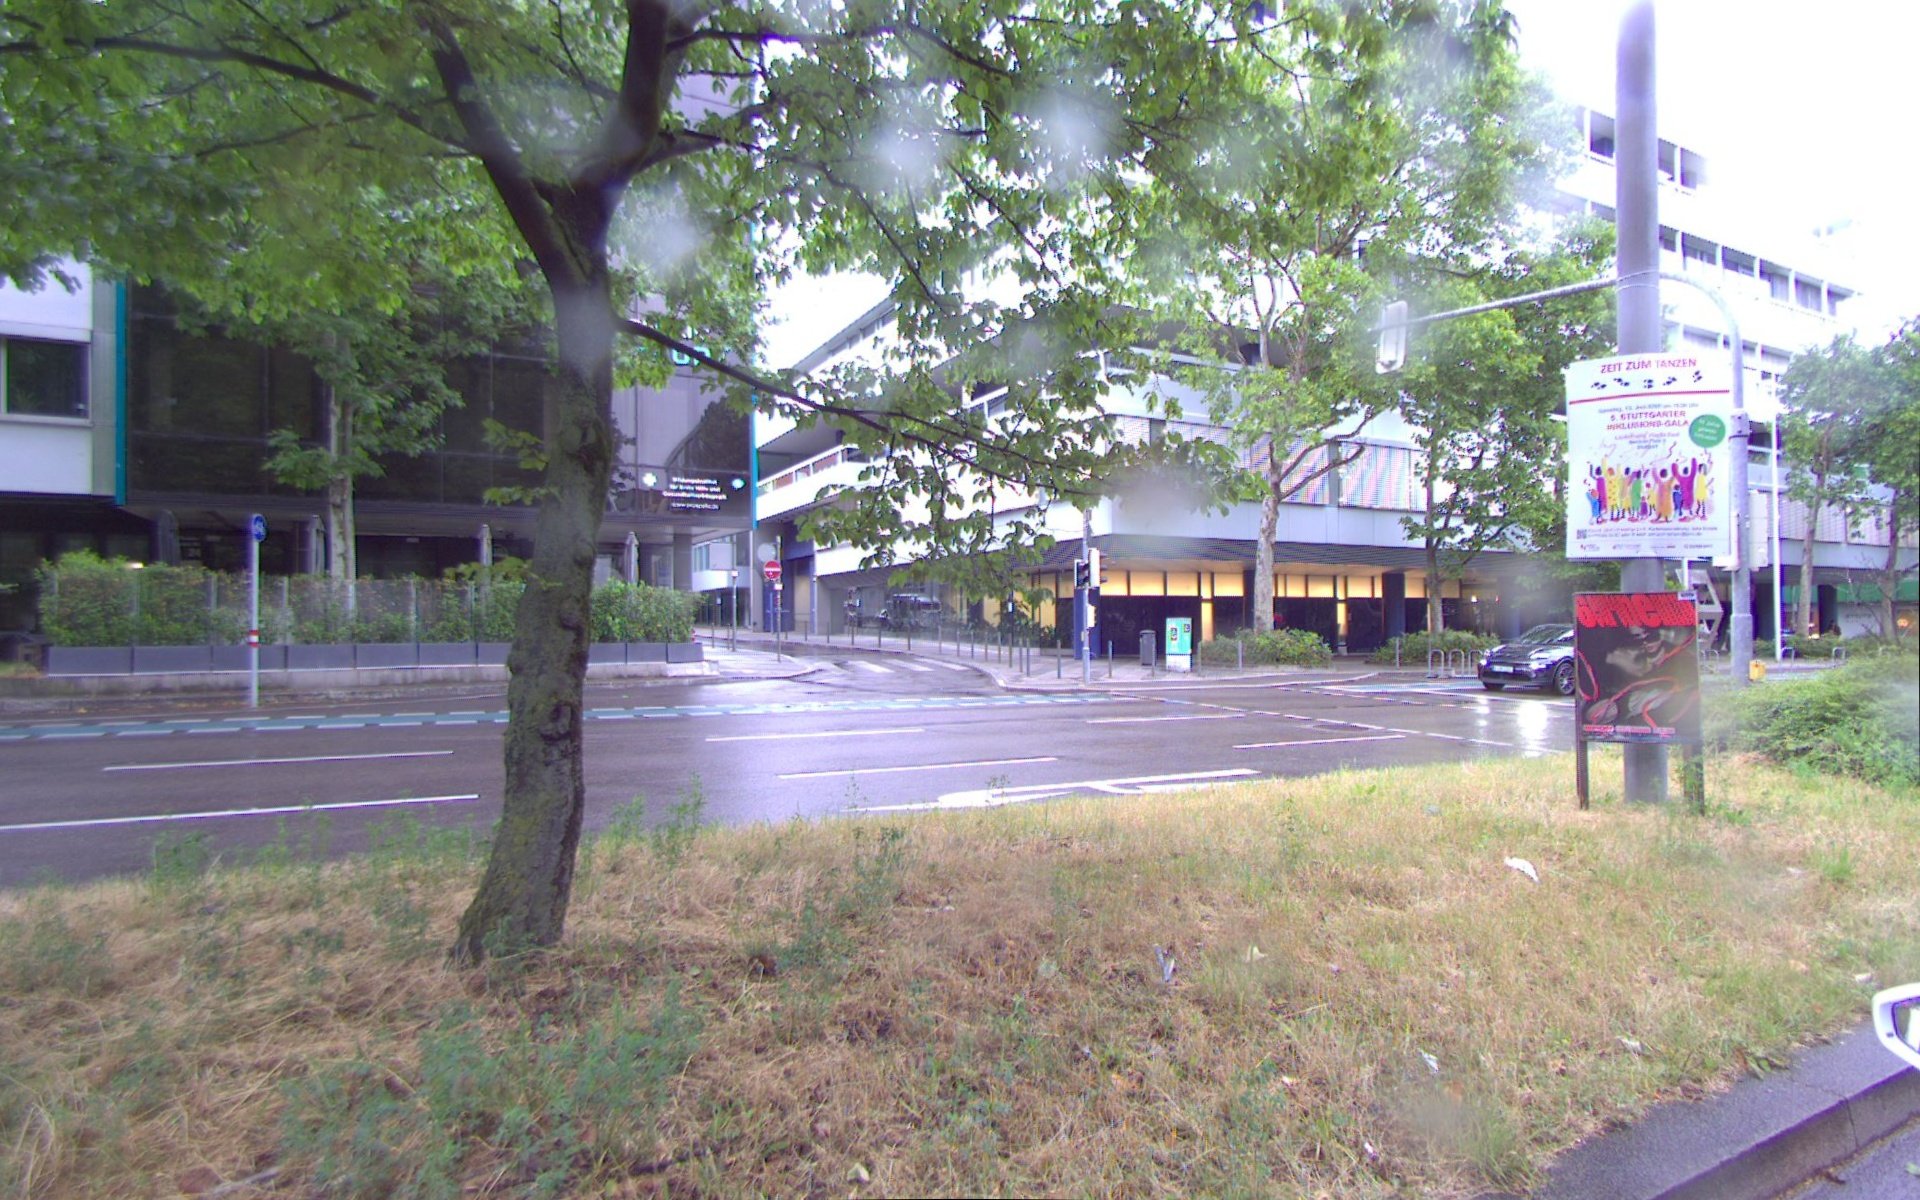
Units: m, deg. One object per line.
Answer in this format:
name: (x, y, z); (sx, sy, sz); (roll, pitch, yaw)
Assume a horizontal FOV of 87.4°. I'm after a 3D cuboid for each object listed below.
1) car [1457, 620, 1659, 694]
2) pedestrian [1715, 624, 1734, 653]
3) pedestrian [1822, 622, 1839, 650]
car: (14.460, 1.361, 24.263); (4.683, 1.605, 1.903); (2, 0, -26)
pedestrian: (37.841, 1.891, 49.737); (0.470, 1.398, 0.632); (2, 0, -40)
pedestrian: (48.528, 2.012, 55.979); (0.570, 1.502, 0.604); (2, 0, -40)
